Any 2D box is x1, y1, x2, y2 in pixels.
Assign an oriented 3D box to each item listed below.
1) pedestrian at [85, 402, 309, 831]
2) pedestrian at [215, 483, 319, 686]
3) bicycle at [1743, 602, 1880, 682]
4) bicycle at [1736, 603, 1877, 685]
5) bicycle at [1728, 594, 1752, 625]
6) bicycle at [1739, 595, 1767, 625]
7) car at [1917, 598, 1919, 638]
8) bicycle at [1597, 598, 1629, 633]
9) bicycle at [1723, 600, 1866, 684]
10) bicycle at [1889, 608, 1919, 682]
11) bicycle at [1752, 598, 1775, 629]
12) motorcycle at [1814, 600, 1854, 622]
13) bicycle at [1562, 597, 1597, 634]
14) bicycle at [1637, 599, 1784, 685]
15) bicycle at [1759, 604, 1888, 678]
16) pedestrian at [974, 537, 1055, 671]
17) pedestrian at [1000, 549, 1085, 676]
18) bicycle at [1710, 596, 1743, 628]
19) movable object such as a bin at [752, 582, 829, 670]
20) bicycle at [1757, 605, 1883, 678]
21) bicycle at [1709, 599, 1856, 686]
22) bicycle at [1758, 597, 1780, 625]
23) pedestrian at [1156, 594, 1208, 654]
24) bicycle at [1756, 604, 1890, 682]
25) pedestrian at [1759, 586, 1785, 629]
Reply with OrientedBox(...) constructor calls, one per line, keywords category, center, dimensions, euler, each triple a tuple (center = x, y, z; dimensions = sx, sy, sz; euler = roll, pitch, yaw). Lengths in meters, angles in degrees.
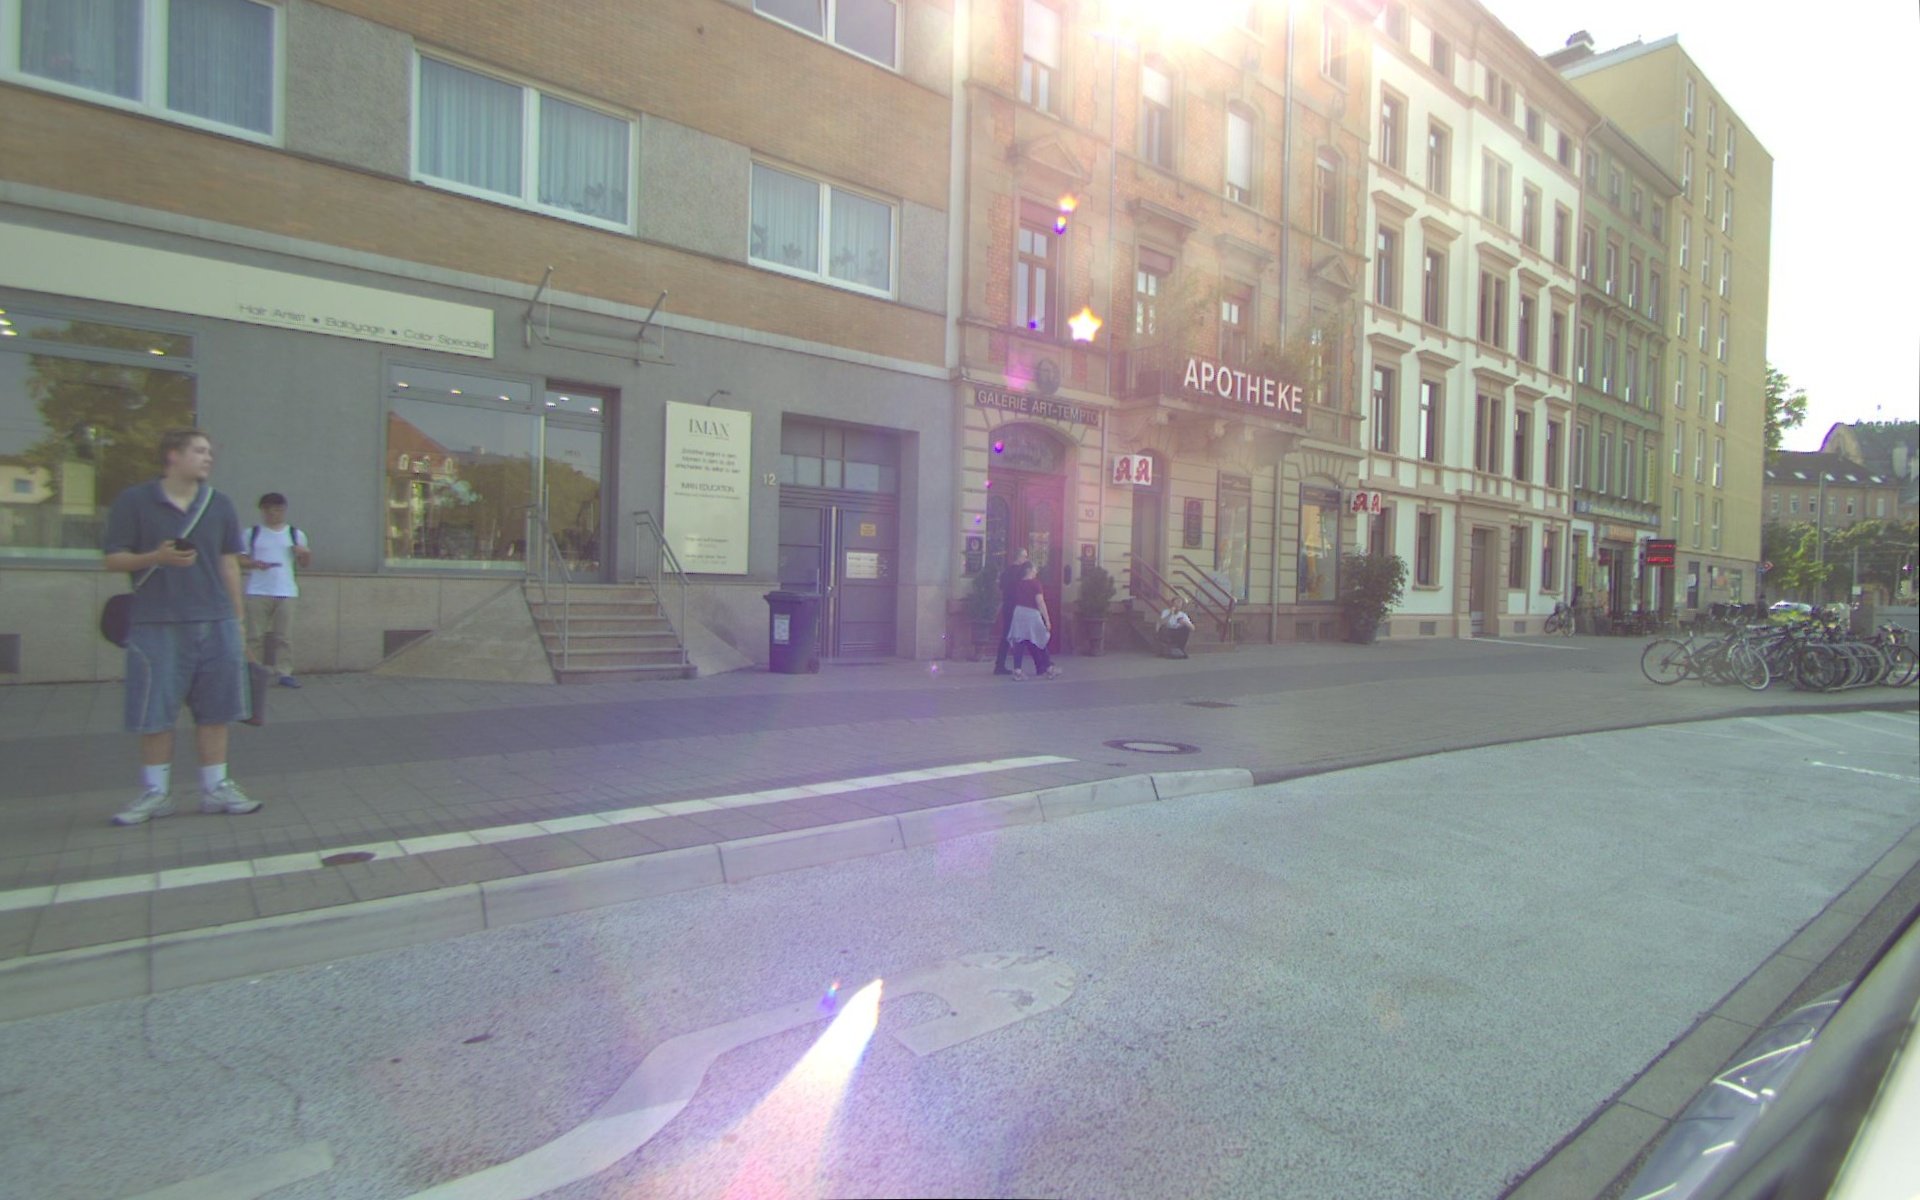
OrientedBox(category="pedestrian", center=(-3.765, 0.058, 4.979), dimensions=(0.787, 1.854, 0.927), euler=(1, 1, -42))
OrientedBox(category="pedestrian", center=(-6.644, -0.151, 9.703), dimensions=(0.730, 1.854, 0.604), euler=(1, 1, -42))
OrientedBox(category="bicycle", center=(13.756, 0.652, 16.389), dimensions=(0.379, 1.163, 1.635), euler=(0, 2, -43))
OrientedBox(category="bicycle", center=(13.237, 0.664, 15.865), dimensions=(0.379, 1.163, 1.635), euler=(0, 2, -43))
OrientedBox(category="bicycle", center=(33.481, 0.390, 43.433), dimensions=(0.602, 1.277, 1.966), euler=(2, 2, 43))
OrientedBox(category="bicycle", center=(35.219, 0.431, 44.935), dimensions=(1.816, 1.277, 0.604), euler=(0, 1, -40))
OrientedBox(category="car", center=(36.884, 0.716, 36.227), dimensions=(3.471, 1.482, 1.619), euler=(1, 1, 10))
OrientedBox(category="bicycle", center=(22.393, 0.529, 34.677), dimensions=(1.688, 1.148, 0.384), euler=(0, 1, -39))
OrientedBox(category="bicycle", center=(12.755, 0.608, 15.510), dimensions=(0.379, 1.163, 1.635), euler=(0, 2, -43))
OrientedBox(category="bicycle", center=(16.033, 0.735, 17.094), dimensions=(0.407, 1.163, 1.629), euler=(2, 2, 45))
OrientedBox(category="bicycle", center=(34.278, 0.577, 43.151), dimensions=(0.602, 1.277, 1.966), euler=(2, 2, 43))
OrientedBox(category="motorcycle", center=(48.016, 0.597, 55.602), dimensions=(2.253, 1.161, 0.707), euler=(1, 1, -23))
OrientedBox(category="bicycle", center=(19.786, 0.488, 32.328), dimensions=(1.688, 1.148, 0.384), euler=(0, 1, -39))
OrientedBox(category="bicycle", center=(11.228, 0.597, 15.187), dimensions=(0.590, 1.163, 1.638), euler=(1, 2, -37))
OrientedBox(category="bicycle", center=(14.859, 0.679, 17.443), dimensions=(0.379, 1.163, 1.635), euler=(0, 2, -43))
OrientedBox(category="pedestrian", center=(0.768, 0.045, 14.246), dimensions=(0.840, 1.809, 0.722), euler=(0, 1, -38))
OrientedBox(category="pedestrian", center=(1.098, 0.153, 13.522), dimensions=(0.840, 1.630, 0.722), euler=(0, 1, -38))
OrientedBox(category="bicycle", center=(31.540, 0.474, 41.627), dimensions=(1.961, 1.277, 0.604), euler=(0, 1, -39))
OrientedBox(category="movable object such as a bin", center=(-2.216, 0.320, 13.229), dimensions=(0.734, 1.094, 0.662), euler=(2, 1, 34))
OrientedBox(category="bicycle", center=(15.142, 0.712, 17.849), dimensions=(0.379, 1.163, 1.635), euler=(0, 2, -43))
OrientedBox(category="bicycle", center=(12.171, 0.599, 15.023), dimensions=(0.379, 1.163, 1.635), euler=(0, 2, -43))
OrientedBox(category="bicycle", center=(37.588, 0.509, 47.001), dimensions=(1.607, 1.277, 0.469), euler=(0, 1, -40))
OrientedBox(category="pedestrian", center=(3.819, 0.410, 17.471), dimensions=(0.623, 0.994, 0.615), euler=(1, 1, -19))
OrientedBox(category="bicycle", center=(14.296, 0.684, 16.806), dimensions=(0.379, 1.163, 1.635), euler=(0, 2, -43))
OrientedBox(category="pedestrian", center=(31.866, 0.300, 39.729), dimensions=(0.724, 1.649, 0.610), euler=(1, 1, -39))
